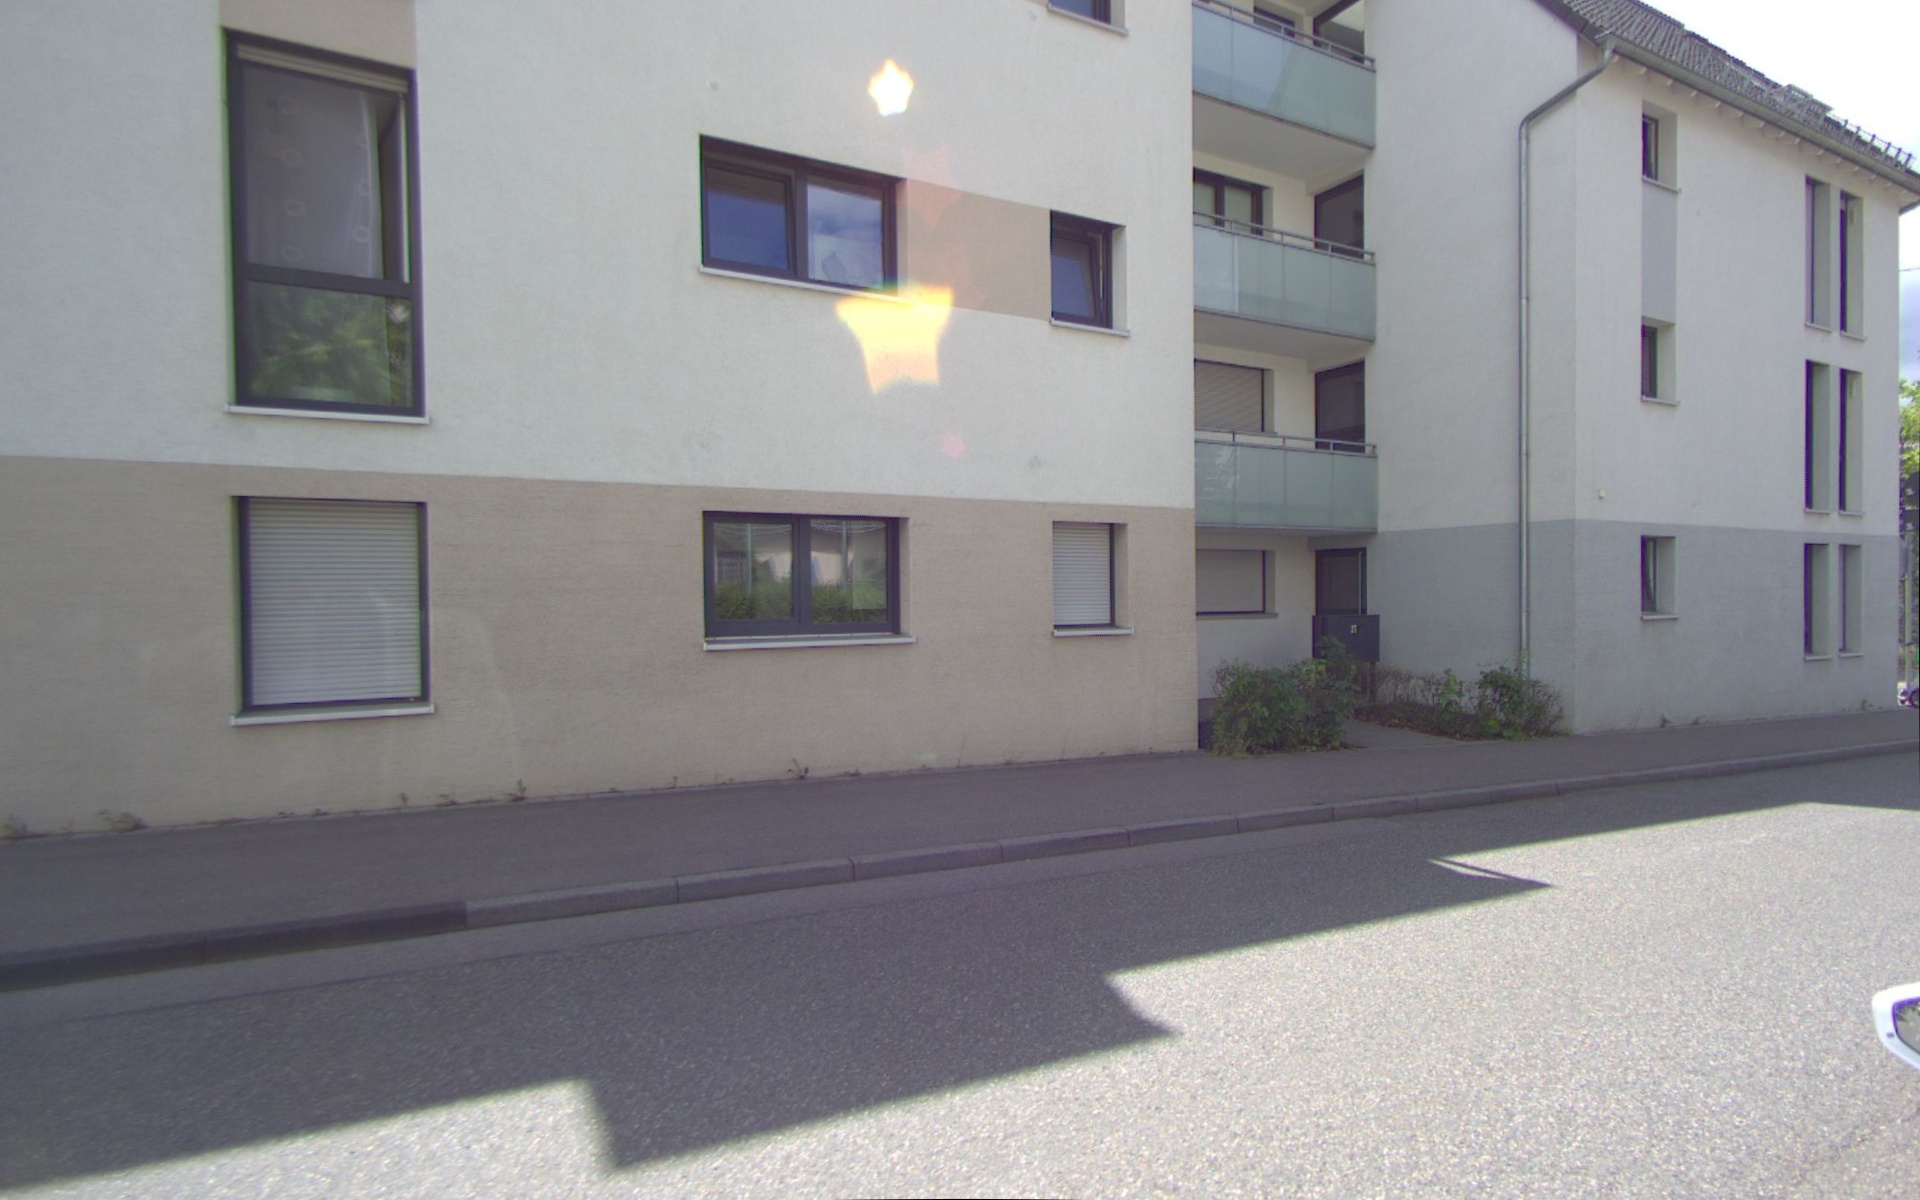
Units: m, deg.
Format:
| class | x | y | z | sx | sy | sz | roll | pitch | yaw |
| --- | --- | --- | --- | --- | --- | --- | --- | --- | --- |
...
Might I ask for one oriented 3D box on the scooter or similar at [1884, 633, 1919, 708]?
| class | x | y | z | sx | sy | sz | roll | pitch | yaw |
| --- | --- | --- | --- | --- | --- | --- | --- | --- | --- |
| scooter or similar | 16.691 | 1.214 | 17.574 | 0.482 | 1.278 | 1.305 | 0 | -1 | 30 |
